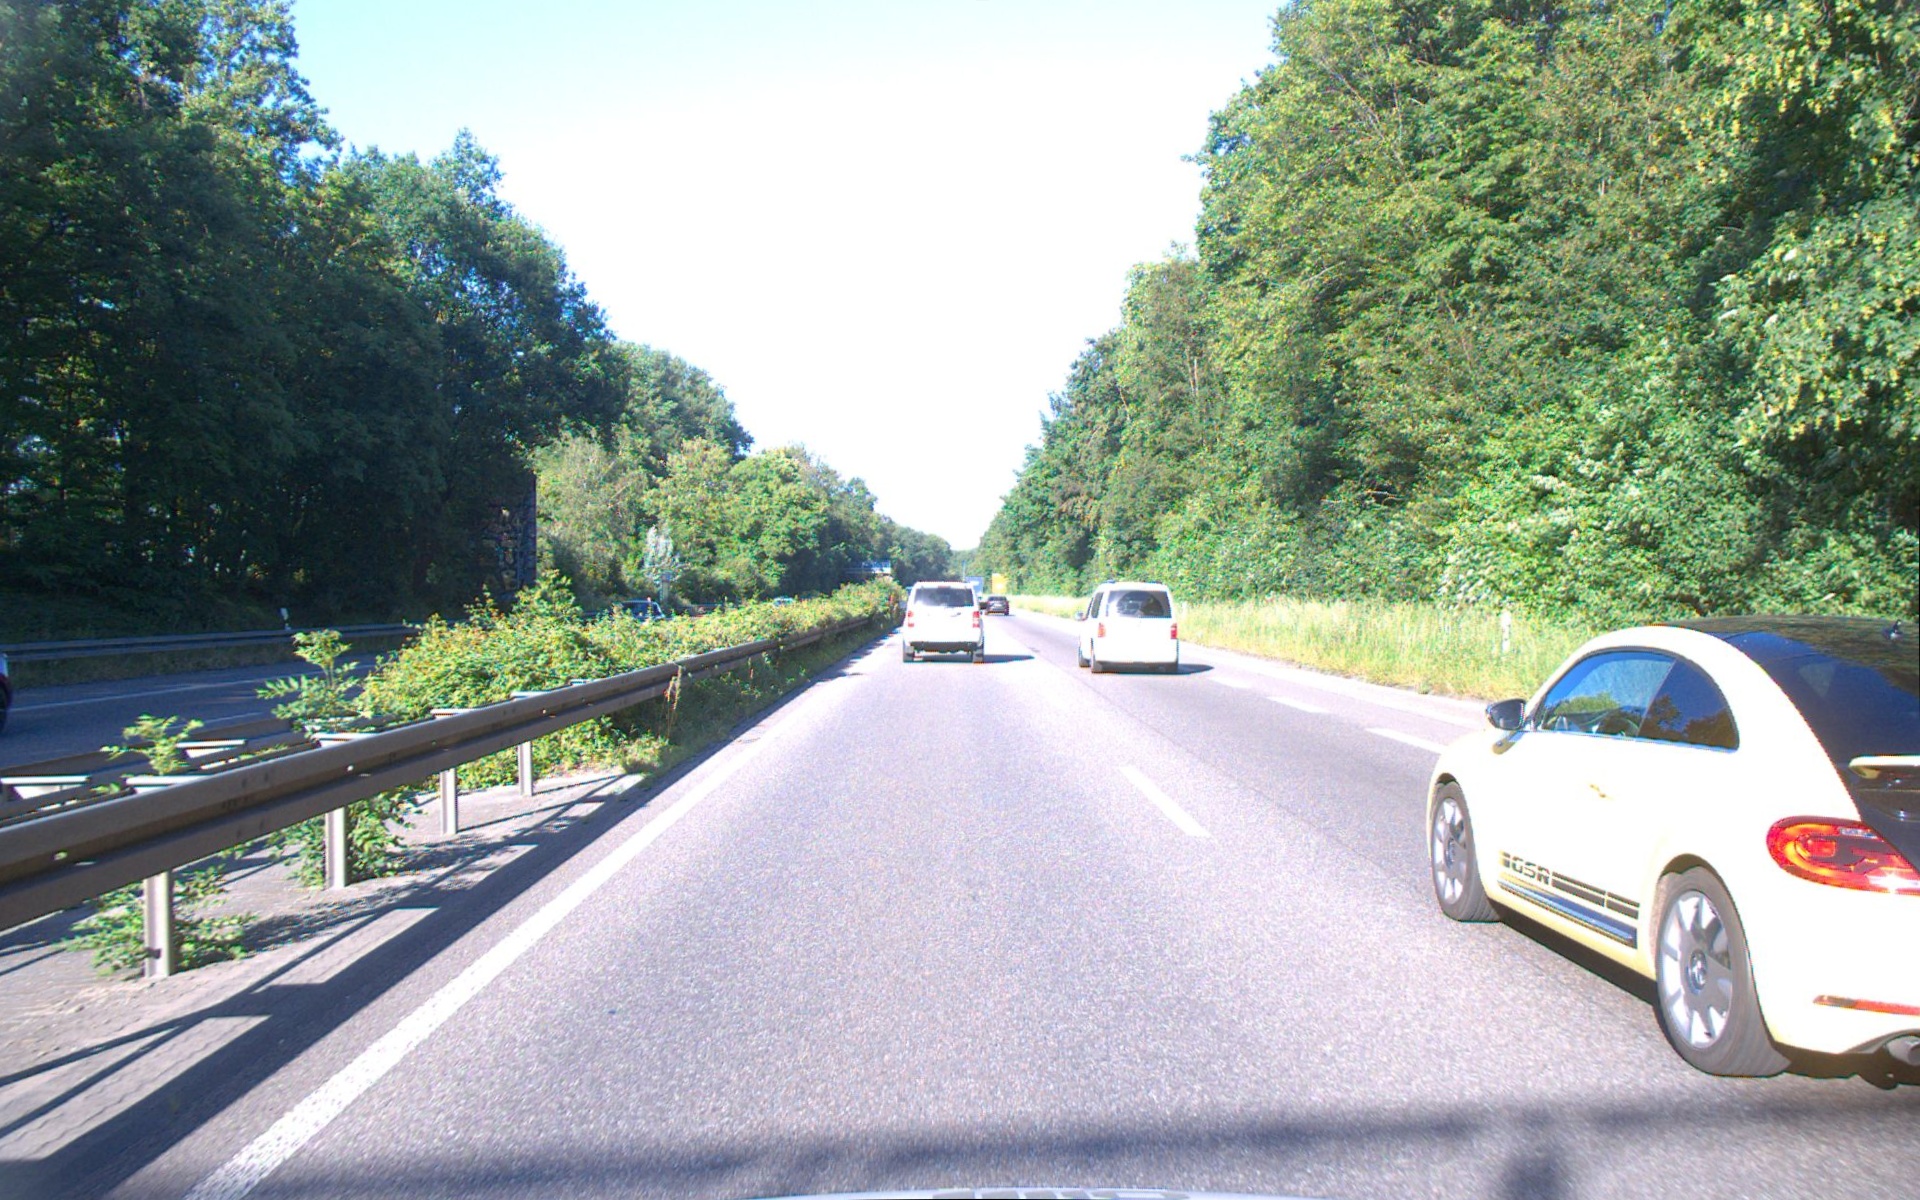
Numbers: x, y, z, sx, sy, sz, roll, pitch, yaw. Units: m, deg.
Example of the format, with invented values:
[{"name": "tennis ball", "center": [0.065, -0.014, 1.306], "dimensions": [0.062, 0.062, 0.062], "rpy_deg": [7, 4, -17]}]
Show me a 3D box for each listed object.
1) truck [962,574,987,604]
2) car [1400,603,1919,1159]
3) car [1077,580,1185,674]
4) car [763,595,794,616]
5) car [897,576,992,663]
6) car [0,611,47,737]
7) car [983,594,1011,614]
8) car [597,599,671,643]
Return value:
[{"name": "truck", "center": [2.081, -1.603, 243.440], "dimensions": [3.424, 4.246, 8.860], "rpy_deg": [0, 0, -1]}, {"name": "car", "center": [3.346, 0.779, 6.712], "dimensions": [1.841, 1.487, 4.354], "rpy_deg": [1, 0, -2]}, {"name": "car", "center": [3.469, 0.514, 34.305], "dimensions": [1.825, 1.801, 4.470], "rpy_deg": [1, 0, 1]}, {"name": "car", "center": [-13.073, 0.391, 119.571], "dimensions": [1.921, 1.475, 4.504], "rpy_deg": [1, 0, -3]}, {"name": "car", "center": [-0.419, 0.412, 37.793], "dimensions": [2.043, 1.860, 3.998], "rpy_deg": [0, 0, -2]}, {"name": "car", "center": [-12.355, 0.884, 18.419], "dimensions": [1.921, 1.475, 4.582], "rpy_deg": [1, 0, -2]}, {"name": "car", "center": [2.764, 0.306, 124.066], "dimensions": [1.953, 1.422, 3.999], "rpy_deg": [1, 0, -1]}, {"name": "car", "center": [-11.785, 0.733, 60.029], "dimensions": [1.921, 1.475, 4.325], "rpy_deg": [1, 0, -2]}]
